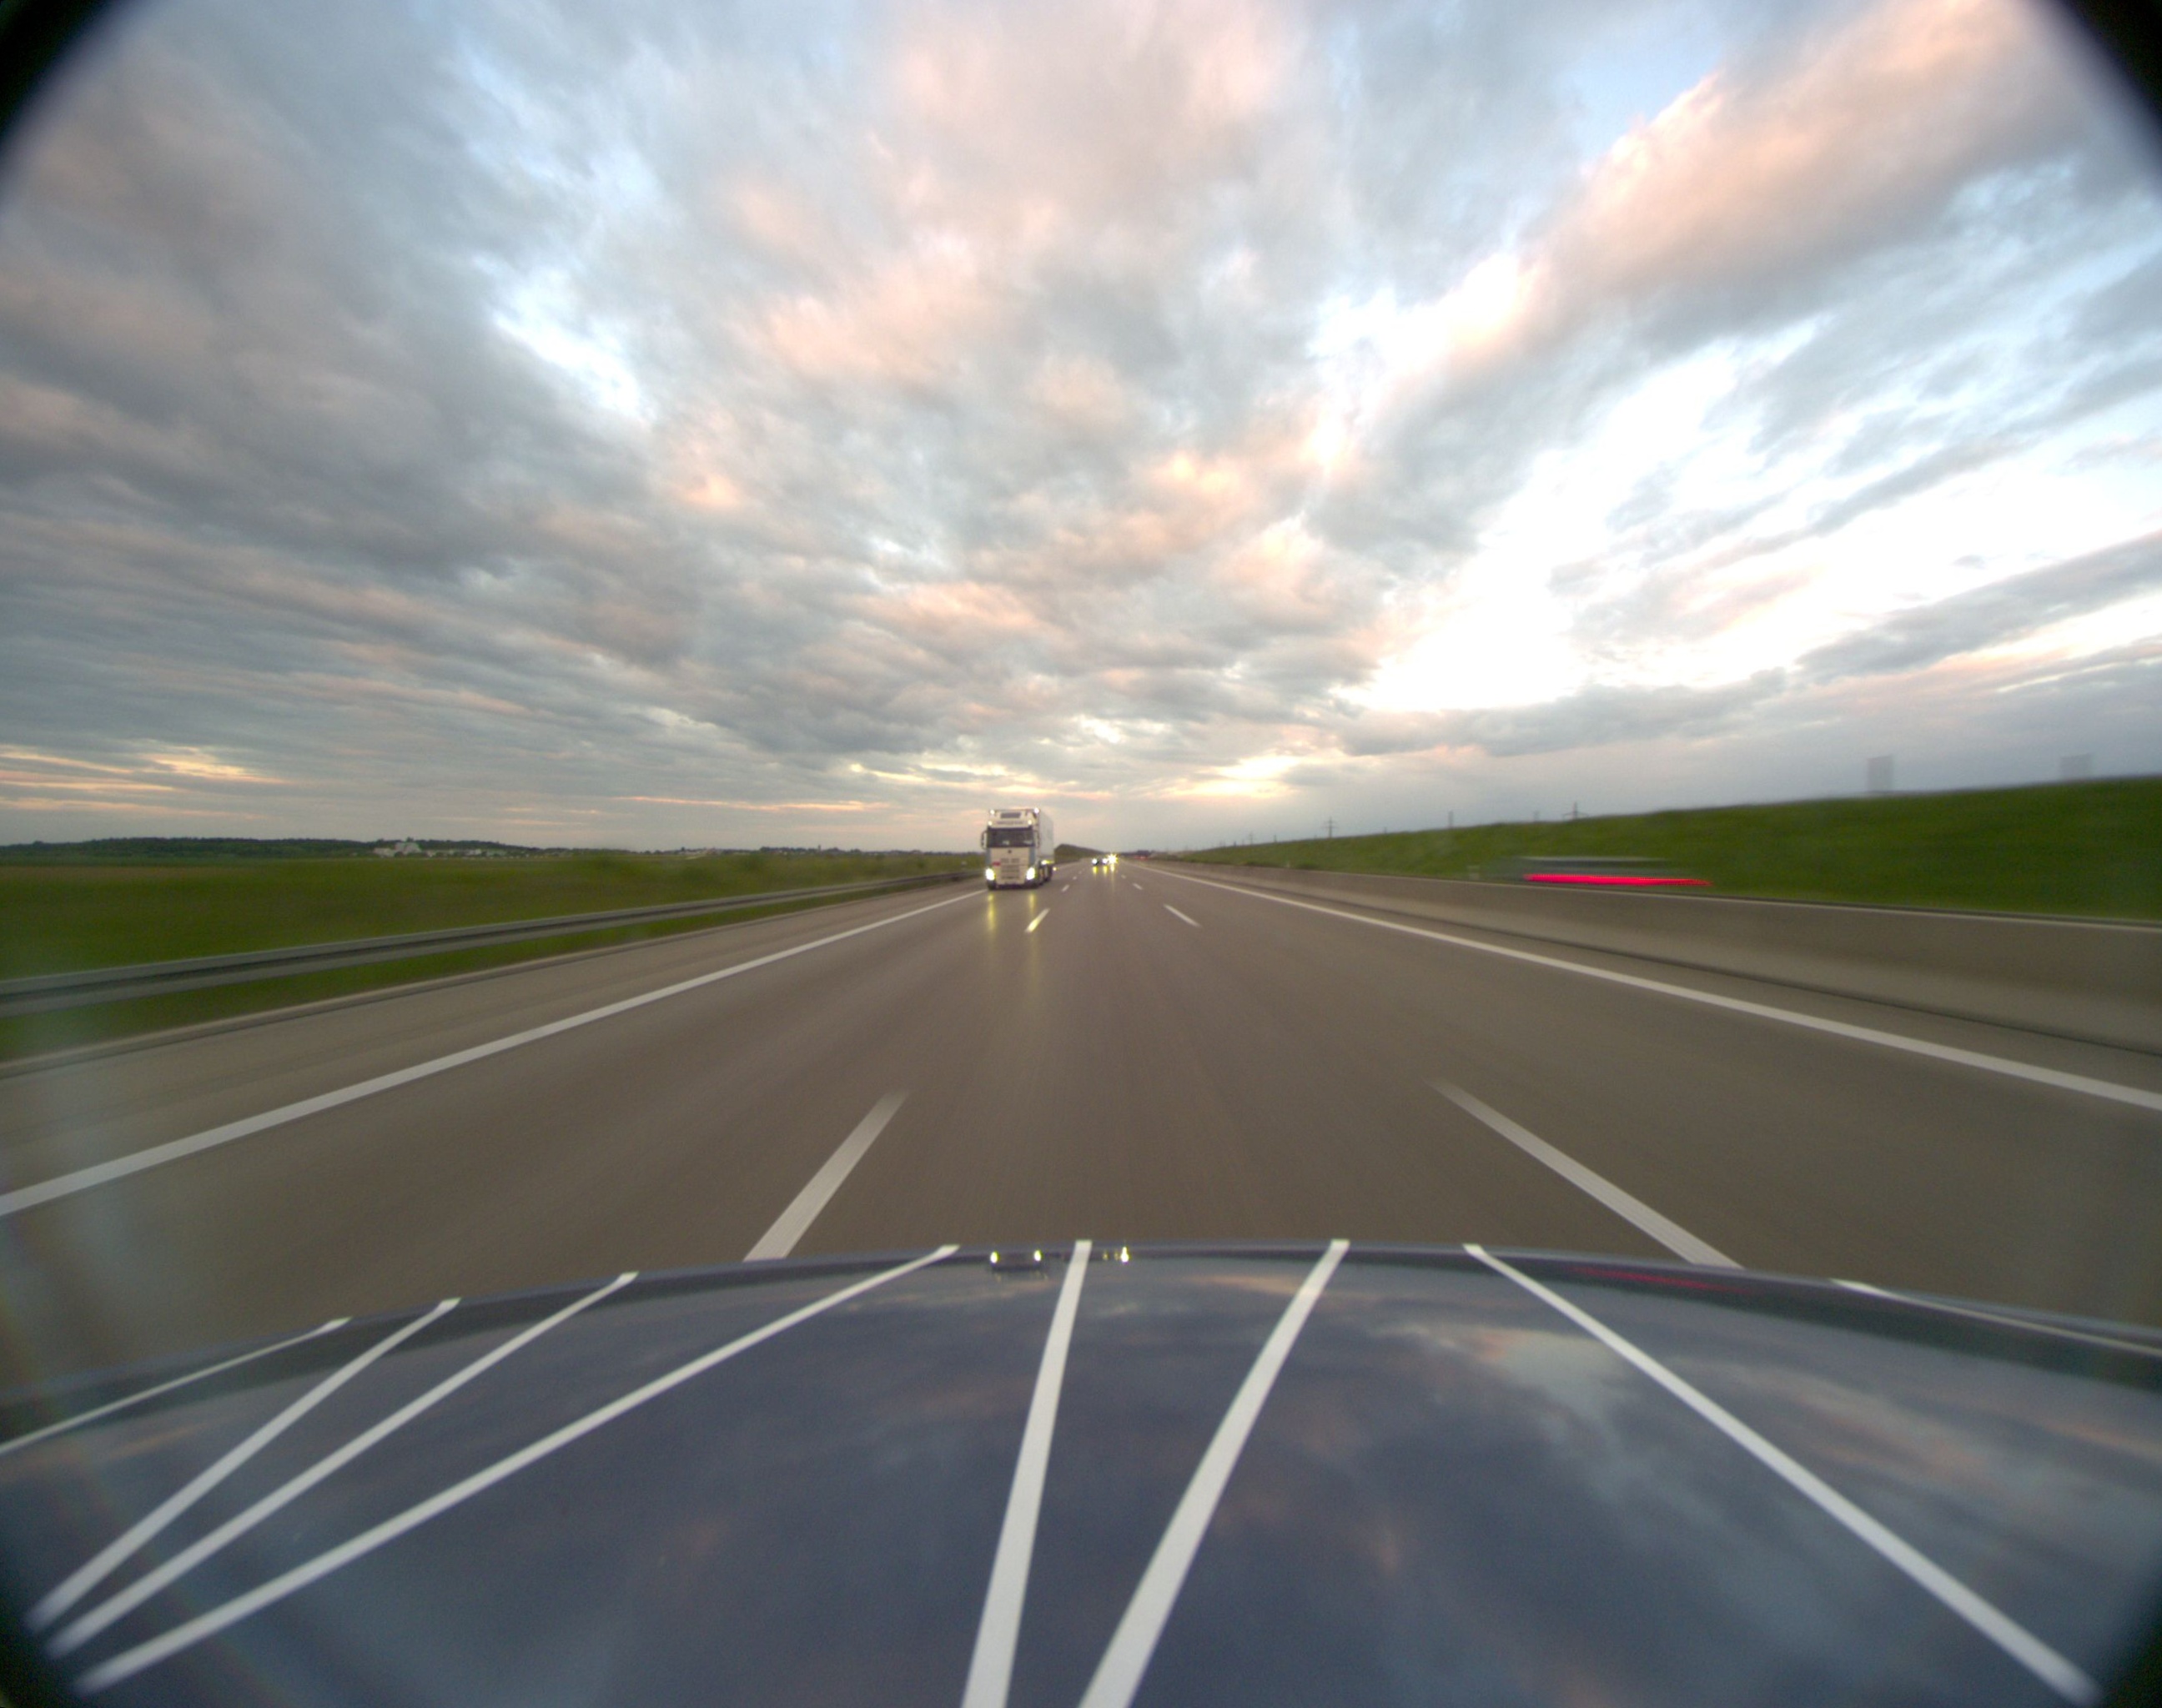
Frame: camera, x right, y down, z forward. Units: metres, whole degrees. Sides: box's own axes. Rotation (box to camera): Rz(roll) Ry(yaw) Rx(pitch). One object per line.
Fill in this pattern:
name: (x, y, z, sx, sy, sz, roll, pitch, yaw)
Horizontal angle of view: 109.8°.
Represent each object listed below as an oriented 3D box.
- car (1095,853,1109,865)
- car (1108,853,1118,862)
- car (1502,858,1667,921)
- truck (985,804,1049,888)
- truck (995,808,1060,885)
car: (3.080, 0.671, 113.644, 1.998, 1.652, 4.851, -2, 1, 1)
car: (6.654, 0.770, 158.446, 1.998, 1.652, 4.000, -2, 1, 1)
car: (12.173, 0.793, 18.686, 1.581, 1.377, 3.773, 0, 0, 1)
truck: (-3.175, -0.365, 39.358, 2.596, 3.999, 5.859, -1, 0, 2)
truck: (-2.988, -0.386, 46.348, 2.596, 3.999, 12.986, -1, 0, 2)
